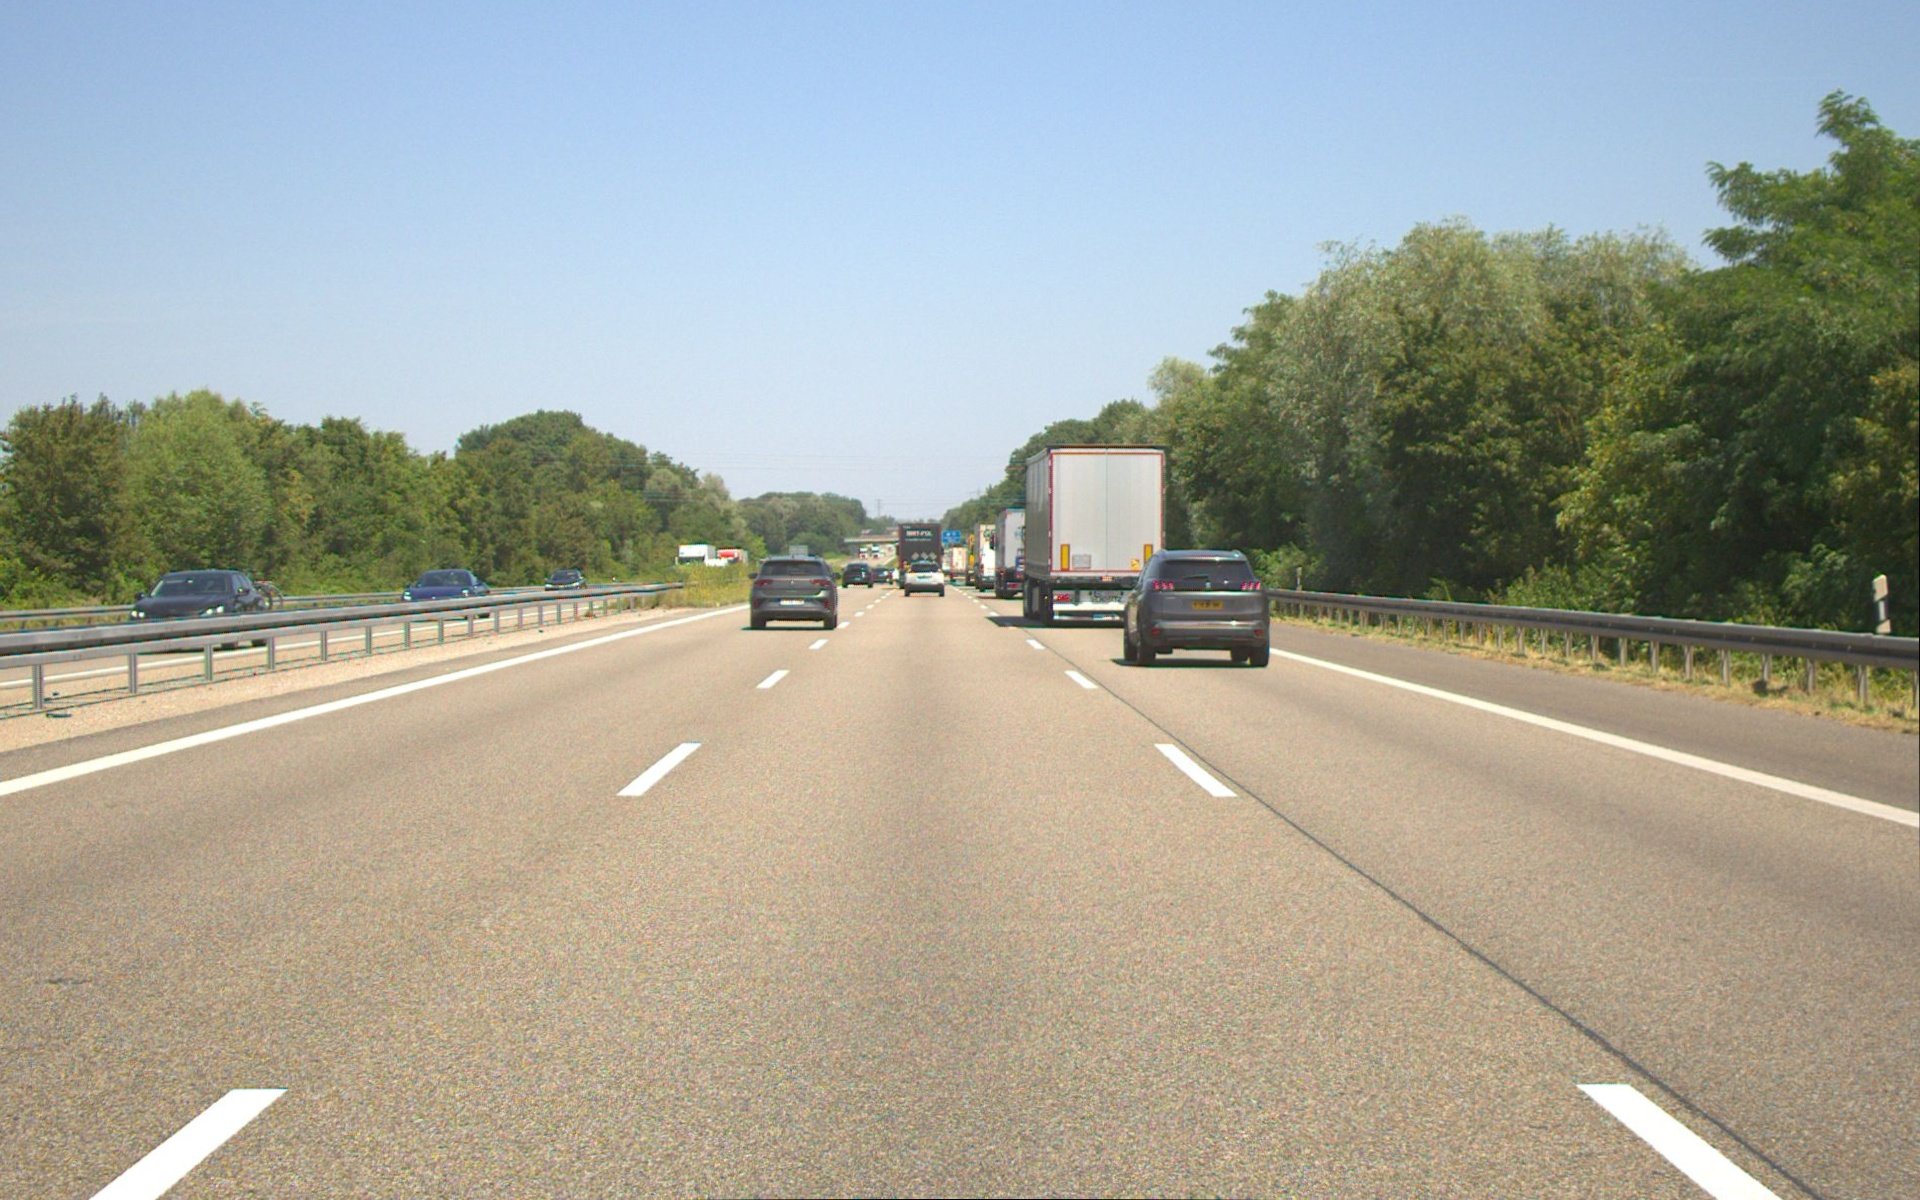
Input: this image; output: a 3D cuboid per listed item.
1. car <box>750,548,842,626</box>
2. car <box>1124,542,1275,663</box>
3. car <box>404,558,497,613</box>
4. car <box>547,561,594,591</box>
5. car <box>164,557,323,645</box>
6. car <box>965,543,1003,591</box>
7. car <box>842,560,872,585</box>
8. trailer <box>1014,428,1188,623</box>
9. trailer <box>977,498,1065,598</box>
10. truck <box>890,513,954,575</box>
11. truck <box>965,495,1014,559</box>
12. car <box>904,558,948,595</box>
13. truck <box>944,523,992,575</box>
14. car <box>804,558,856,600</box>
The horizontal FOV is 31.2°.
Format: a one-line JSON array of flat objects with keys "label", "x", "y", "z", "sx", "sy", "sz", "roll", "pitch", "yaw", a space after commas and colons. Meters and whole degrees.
[{"label": "car", "x": -3.464, "y": -0.292, "z": 73.157, "sx": 1.759, "sy": 1.525, "sz": 4.286, "roll": 1, "pitch": 2, "yaw": 0}, {"label": "car", "x": 3.361, "y": 0.002, "z": 48.869, "sx": 1.845, "sy": 1.623, "sz": 4.135, "roll": 0, "pitch": 1, "yaw": 0}, {"label": "car", "x": -13.832, "y": -0.411, "z": 93.575, "sx": 1.850, "sy": 1.390, "sz": 4.743, "roll": -3, "pitch": 1, "yaw": -1}, {"label": "car", "x": -19.458, "y": -1.218, "z": 171.913, "sx": 1.862, "sy": 1.396, "sz": 4.532, "roll": -2, "pitch": 1, "yaw": -1}, {"label": "car", "x": -13.064, "y": -0.009, "z": 62.997, "sx": 1.850, "sy": 1.458, "sz": 5.170, "roll": -3, "pitch": 1, "yaw": -1}, {"label": "car", "x": 1.265, "y": -1.759, "z": 182.977, "sx": 1.907, "sy": 2.417, "sz": 4.286, "roll": 1, "pitch": 2, "yaw": 0}, {"label": "car", "x": -6.827, "y": -1.818, "z": 228.016, "sx": 1.907, "sy": 1.525, "sz": 4.286, "roll": 1, "pitch": 2, "yaw": 0}, {"label": "trailer", "x": 3.147, "y": -1.676, "z": 81.034, "sx": 3.434, "sy": 4.167, "sz": 13.633, "roll": 1, "pitch": 1, "yaw": 0}, {"label": "trailer", "x": 2.436, "y": -2.182, "z": 141.213, "sx": 3.122, "sy": 3.913, "sz": 9.937, "roll": 1, "pitch": 1, "yaw": -1}, {"label": "truck", "x": -2.284, "y": -3.462, "z": 210.385, "sx": 3.667, "sy": 3.713, "sz": 7.108, "roll": 1, "pitch": 1, "yaw": 1}, {"label": "truck", "x": 1.772, "y": -4.341, "z": 204.535, "sx": 2.792, "sy": 3.713, "sz": 7.108, "roll": 1, "pitch": 1, "yaw": 1}, {"label": "car", "x": -1.499, "y": -1.053, "z": 152.966, "sx": 1.900, "sy": 1.525, "sz": 4.084, "roll": 1, "pitch": 2, "yaw": 0}, {"label": "truck", "x": 0.637, "y": -3.851, "z": 257.846, "sx": 3.489, "sy": 3.713, "sz": 7.108, "roll": 1, "pitch": 1, "yaw": 1}, {"label": "car", "x": -5.125, "y": -0.832, "z": 135.683, "sx": 1.900, "sy": 1.525, "sz": 4.084, "roll": 1, "pitch": 2, "yaw": 0}]
